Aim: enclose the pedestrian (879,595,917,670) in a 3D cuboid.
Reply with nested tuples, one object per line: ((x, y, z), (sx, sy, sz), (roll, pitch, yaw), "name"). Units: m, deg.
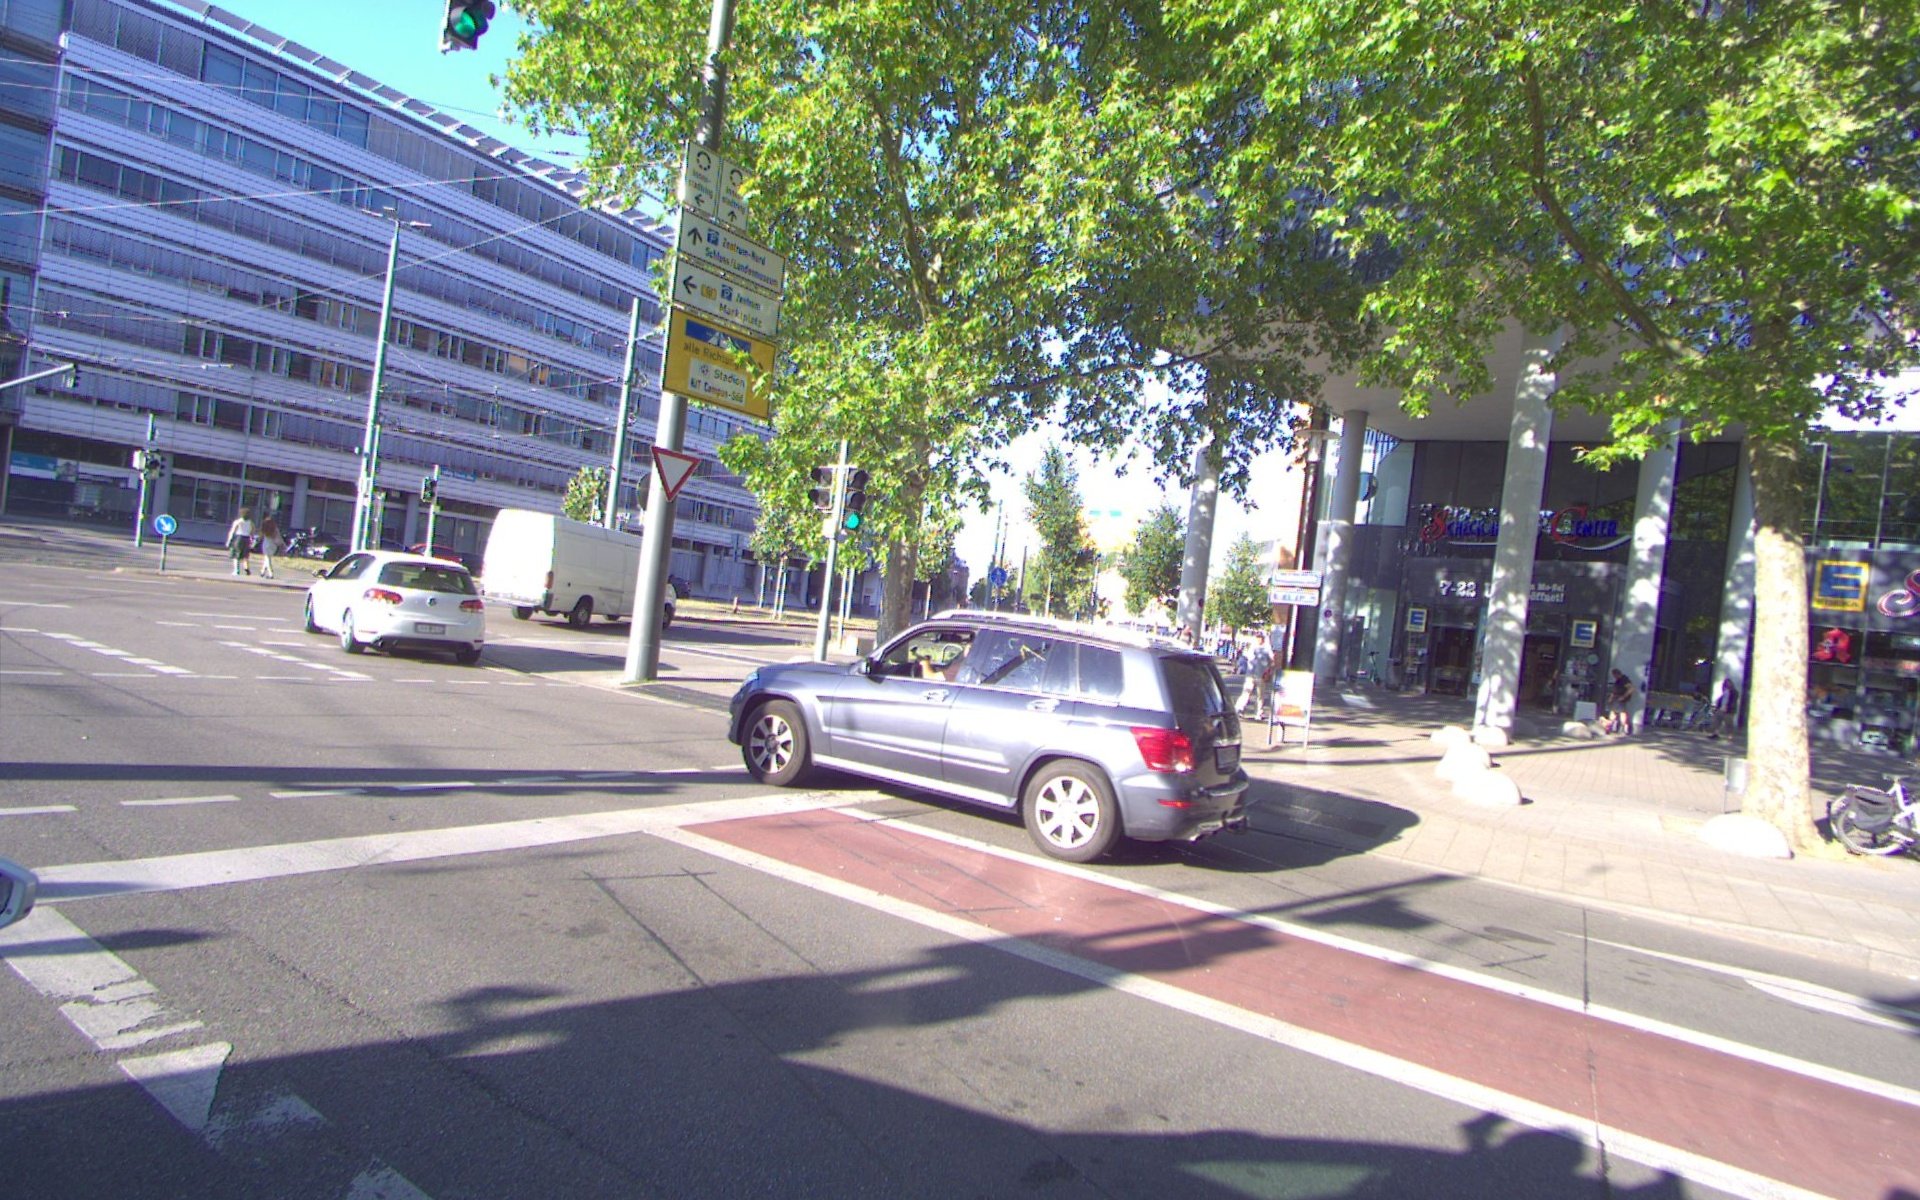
((-1.416, 0.756, 23.105), (0.523, 1.644, 0.543), (7, 1, 19), "pedestrian")

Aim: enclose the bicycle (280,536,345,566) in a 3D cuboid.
((-29.960, -2.263, 46.561), (0.627, 1.035, 2.410), (7, 0, 36), "bicycle")

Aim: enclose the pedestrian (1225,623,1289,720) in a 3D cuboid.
((6.311, 1.507, 21.397), (0.800, 1.913, 0.871), (5, 1, -16), "pedestrian")

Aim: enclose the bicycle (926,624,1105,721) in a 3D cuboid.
((0.898, 1.197, 16.963), (2.896, 1.252, 0.705), (6, -1, 32), "bicycle")

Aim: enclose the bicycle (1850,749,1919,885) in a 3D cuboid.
((10.194, 2.227, 9.522), (2.514, 1.234, 0.756), (5, -2, 37), "bicycle")

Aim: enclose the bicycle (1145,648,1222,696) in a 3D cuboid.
((6.165, 1.977, 27.872), (0.596, 1.028, 2.173), (4, 2, -36), "bicycle")

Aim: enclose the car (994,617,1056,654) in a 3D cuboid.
((3.288, 1.822, 50.558), (1.470, 1.476, 3.591), (7, -2, 32), "car")

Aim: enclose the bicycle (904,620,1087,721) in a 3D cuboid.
((0.535, 1.123, 16.336), (2.896, 1.243, 0.686), (6, -1, 31), "bicycle")

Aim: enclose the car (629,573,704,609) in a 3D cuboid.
((-18.218, -0.534, 62.534), (1.852, 1.614, 4.121), (6, -2, 35), "car")

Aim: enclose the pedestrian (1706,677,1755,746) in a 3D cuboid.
((21.076, 3.033, 27.541), (0.824, 1.765, 0.644), (7, 1, 32), "pedestrian")

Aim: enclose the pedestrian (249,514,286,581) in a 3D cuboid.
((-19.233, -1.459, 27.949), (0.679, 1.781, 0.735), (6, 1, -34), "pedestrian")

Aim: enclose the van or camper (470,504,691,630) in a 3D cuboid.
((-9.672, -0.676, 26.466), (1.968, 2.646, 6.502), (7, 0, 12), "van or camper")

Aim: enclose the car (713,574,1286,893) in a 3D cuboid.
((0.222, 0.892, 8.179), (4.179, 1.655, 1.767), (7, -1, 32), "car")

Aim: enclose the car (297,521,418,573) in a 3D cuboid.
((-27.353, -2.378, 45.810), (1.854, 1.744, 4.256), (7, 0, 34), "car")

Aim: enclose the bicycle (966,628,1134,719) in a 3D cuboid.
((1.600, 1.310, 18.267), (2.896, 1.252, 0.705), (6, -1, 31), "bicycle")

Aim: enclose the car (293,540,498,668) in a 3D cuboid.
((-8.590, 0.005, 15.167), (1.631, 1.445, 3.936), (8, -1, -44), "car")

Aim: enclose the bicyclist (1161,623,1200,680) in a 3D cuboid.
((6.125, 1.425, 27.972), (0.587, 1.504, 0.743), (4, 2, -37), "bicyclist")

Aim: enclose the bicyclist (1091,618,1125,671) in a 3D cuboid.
((4.710, 1.428, 32.123), (0.793, 1.585, 1.031), (7, -1, 3), "bicyclist")

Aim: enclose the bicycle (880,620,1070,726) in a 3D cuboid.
((0.191, 1.111, 15.737), (2.896, 1.252, 0.705), (6, -1, 31), "bicycle")

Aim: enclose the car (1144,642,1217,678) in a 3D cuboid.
((12.025, 3.284, 54.832), (4.188, 1.476, 1.732), (9, -2, -44), "car")

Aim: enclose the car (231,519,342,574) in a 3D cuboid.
((-33.578, -2.649, 50.232), (1.967, 2.037, 3.995), (6, -2, 32), "car")

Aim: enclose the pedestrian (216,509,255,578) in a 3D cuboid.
((-19.818, -1.536, 27.540), (0.673, 1.781, 0.735), (6, 1, -33), "pedestrian")

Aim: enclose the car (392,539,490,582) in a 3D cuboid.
((-26.569, -2.017, 51.604), (1.769, 1.569, 3.990), (6, -2, 36), "car")

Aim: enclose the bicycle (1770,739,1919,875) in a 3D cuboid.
((10.779, 2.331, 10.302), (3.759, 1.234, 0.757), (5, -3, 38), "bicycle")

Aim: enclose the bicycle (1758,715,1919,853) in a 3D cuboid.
((11.178, 2.264, 10.933), (3.757, 1.235, 0.727), (10, 1, 38), "bicycle")

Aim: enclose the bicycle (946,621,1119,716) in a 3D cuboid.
((1.236, 1.184, 17.624), (2.896, 1.251, 0.705), (6, -3, 31), "bicycle")

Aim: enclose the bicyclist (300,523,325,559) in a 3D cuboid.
((-29.937, -2.730, 46.510), (0.604, 1.521, 0.663), (7, 1, 37), "bicyclist")

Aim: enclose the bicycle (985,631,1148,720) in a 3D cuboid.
((1.965, 1.390, 18.898), (2.896, 1.250, 0.698), (6, -4, 31), "bicycle")
